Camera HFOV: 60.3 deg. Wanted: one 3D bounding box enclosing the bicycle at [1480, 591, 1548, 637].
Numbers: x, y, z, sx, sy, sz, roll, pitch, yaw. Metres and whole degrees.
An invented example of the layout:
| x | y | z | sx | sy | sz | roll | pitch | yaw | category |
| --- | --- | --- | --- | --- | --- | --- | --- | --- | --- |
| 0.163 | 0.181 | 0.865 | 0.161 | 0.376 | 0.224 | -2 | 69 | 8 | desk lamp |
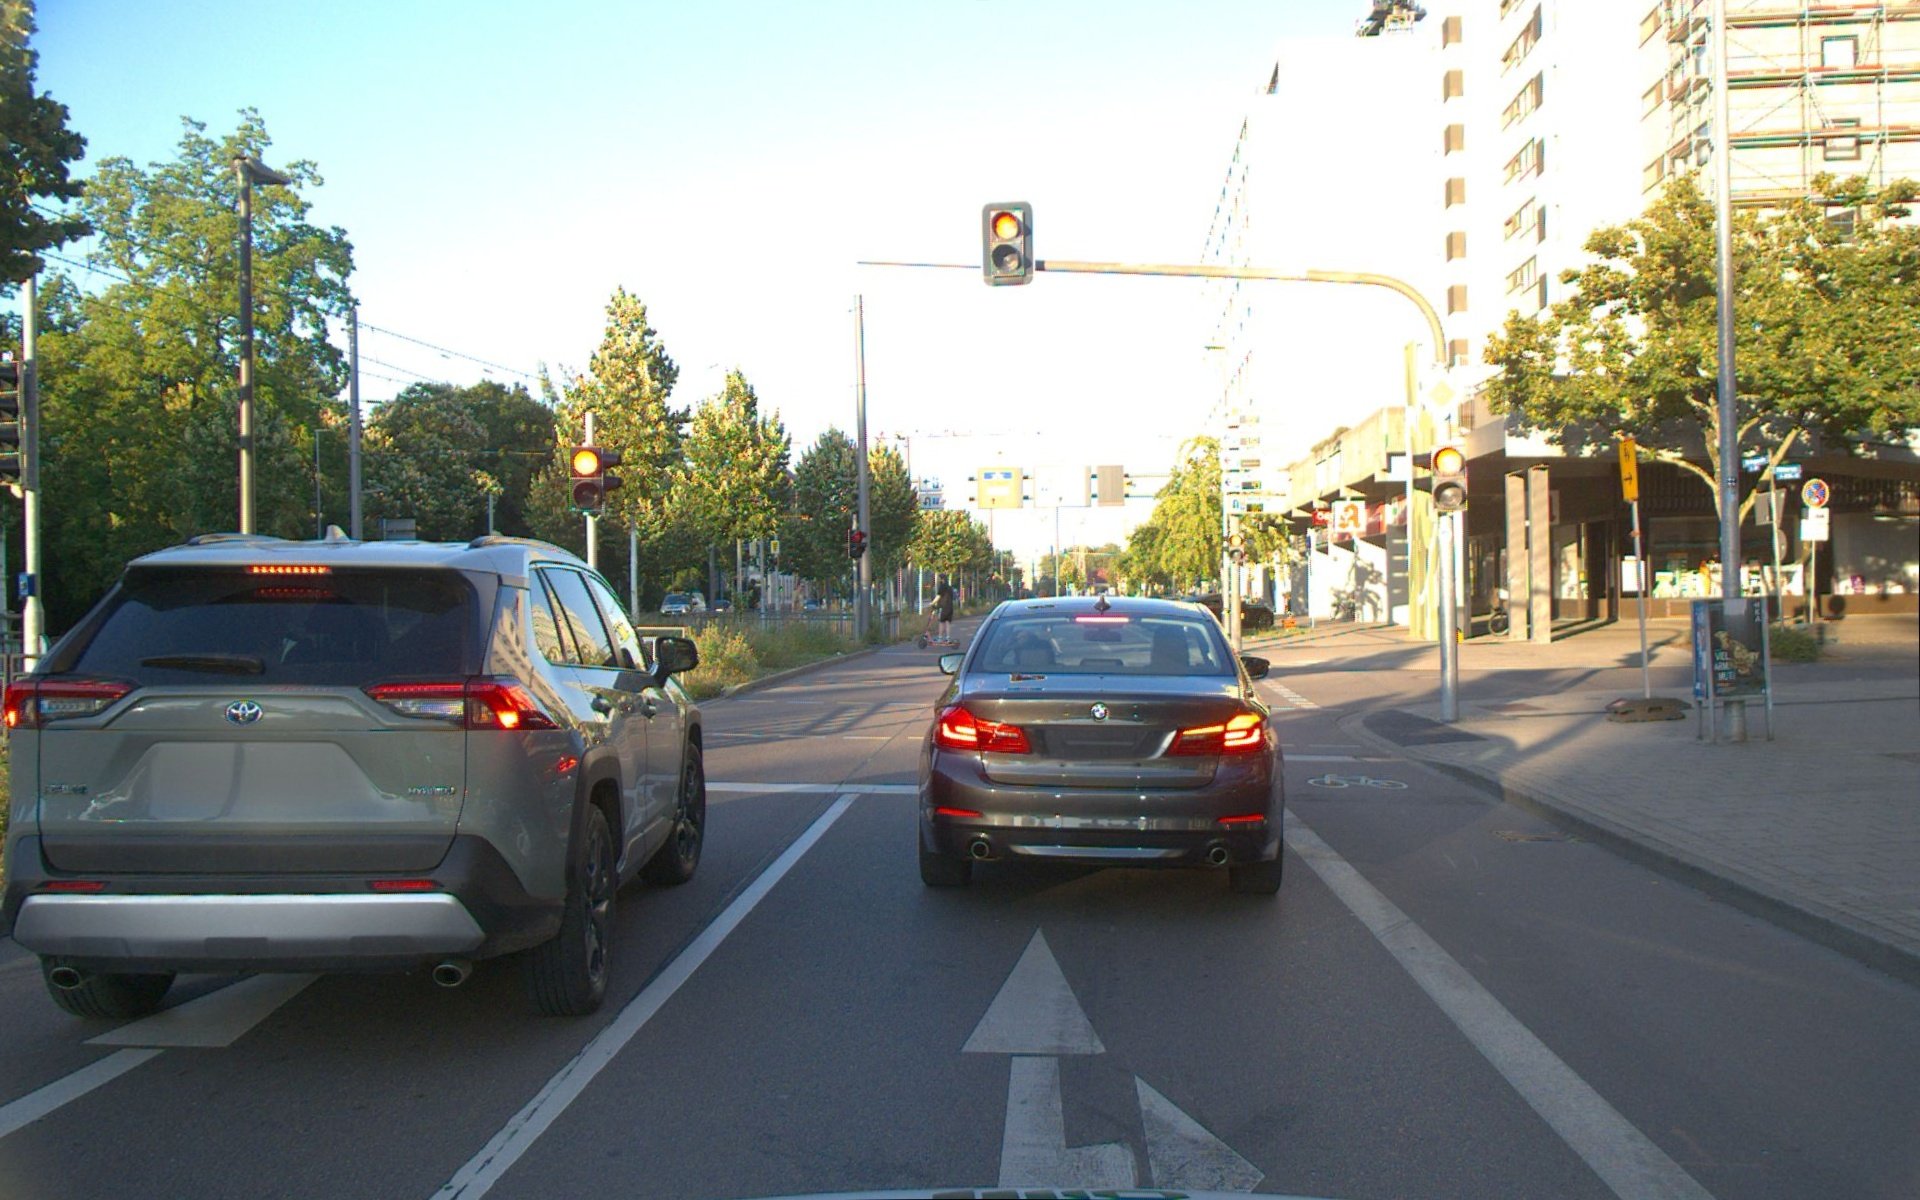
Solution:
| x | y | z | sx | sy | sz | roll | pitch | yaw | category |
| --- | --- | --- | --- | --- | --- | --- | --- | --- | --- |
| 14.658 | 0.361 | 43.826 | 0.677 | 1.169 | 2.014 | 2 | -1 | -16 | bicycle |

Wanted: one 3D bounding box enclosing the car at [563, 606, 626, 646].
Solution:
| x | y | z | sx | sy | sz | roll | pitch | yaw | category |
| --- | --- | --- | --- | --- | --- | --- | --- | --- | --- |
| -17.854 | 1.236 | 80.961 | 1.952 | 1.775 | 4.752 | 0 | 1 | 1 | car |

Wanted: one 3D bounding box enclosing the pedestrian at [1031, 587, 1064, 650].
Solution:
| x | y | z | sx | sy | sz | roll | pitch | yaw | category |
| --- | --- | --- | --- | --- | --- | --- | --- | --- | --- |
| 2.262 | 0.471 | 42.846 | 0.817 | 1.614 | 0.812 | -1 | 0 | 3 | pedestrian |

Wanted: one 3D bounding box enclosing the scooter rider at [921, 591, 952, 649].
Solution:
| x | y | z | sx | sy | sz | roll | pitch | yaw | category |
| --- | --- | --- | --- | --- | --- | --- | --- | --- | --- |
| -0.631 | 0.542 | 45.099 | 0.804 | 1.540 | 0.653 | -1 | 0 | 0 | scooter rider |

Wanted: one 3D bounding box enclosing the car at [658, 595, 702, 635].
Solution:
| x | y | z | sx | sy | sz | roll | pitch | yaw | category |
| --- | --- | --- | --- | --- | --- | --- | --- | --- | --- |
| -16.332 | 0.859 | 96.644 | 1.953 | 2.205 | 4.749 | 0 | 1 | -3 | car |

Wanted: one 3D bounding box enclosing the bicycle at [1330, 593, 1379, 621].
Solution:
| x | y | z | sx | sy | sz | roll | pitch | yaw | category |
| --- | --- | --- | --- | --- | --- | --- | --- | --- | --- |
| 17.010 | 0.303 | 71.393 | 1.973 | 1.169 | 0.691 | 2 | -1 | 9 | bicycle |

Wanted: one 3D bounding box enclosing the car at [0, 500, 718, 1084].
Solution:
| x | y | z | sx | sy | sz | roll | pitch | yaw | category |
| --- | --- | --- | --- | --- | --- | --- | --- | --- | --- |
| -2.143 | 0.510 | 6.945 | 1.817 | 1.687 | 4.266 | 0 | 1 | -3 | car |

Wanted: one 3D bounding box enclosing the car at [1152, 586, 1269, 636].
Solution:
| x | y | z | sx | sy | sz | roll | pitch | yaw | category |
| --- | --- | --- | --- | --- | --- | --- | --- | --- | --- |
| 9.026 | 0.377 | 59.423 | 4.228 | 1.687 | 1.834 | -1 | 2 | -40 | car |

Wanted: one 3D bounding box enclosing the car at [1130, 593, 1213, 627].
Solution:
| x | y | z | sx | sy | sz | roll | pitch | yaw | category |
| --- | --- | --- | --- | --- | --- | --- | --- | --- | --- |
| 11.217 | 0.504 | 87.813 | 4.214 | 1.687 | 1.840 | -1 | 1 | -33 | car |

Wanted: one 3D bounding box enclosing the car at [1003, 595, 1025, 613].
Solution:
| x | y | z | sx | sy | sz | roll | pitch | yaw | category |
| --- | --- | --- | --- | --- | --- | --- | --- | --- | --- |
| 4.925 | 0.368 | 149.909 | 1.937 | 1.458 | 4.845 | 0 | 1 | 3 | car |

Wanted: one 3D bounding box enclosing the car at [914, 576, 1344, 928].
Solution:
| x | y | z | sx | sy | sz | roll | pitch | yaw | category |
| --- | --- | --- | --- | --- | --- | --- | --- | --- | --- |
| 0.888 | 0.635 | 9.585 | 1.891 | 1.507 | 4.525 | 0 | 1 | 4 | car |

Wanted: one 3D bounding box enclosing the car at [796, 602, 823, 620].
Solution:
| x | y | z | sx | sy | sz | roll | pitch | yaw | category |
| --- | --- | --- | --- | --- | --- | --- | --- | --- | --- |
| -12.996 | 0.965 | 143.143 | 1.762 | 1.507 | 3.785 | -1 | 0 | 3 | car |

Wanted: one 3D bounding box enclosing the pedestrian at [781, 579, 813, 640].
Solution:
| x | y | z | sx | sy | sz | roll | pitch | yaw | category |
| --- | --- | --- | --- | --- | --- | --- | --- | --- | --- |
| -4.750 | 0.263 | 48.102 | 0.817 | 1.742 | 0.648 | -1 | 0 | 1 | pedestrian |

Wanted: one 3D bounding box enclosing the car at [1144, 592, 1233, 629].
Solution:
| x | y | z | sx | sy | sz | roll | pitch | yaw | category |
| --- | --- | --- | --- | --- | --- | --- | --- | --- | --- |
| 11.280 | 0.490 | 81.528 | 4.215 | 1.687 | 1.839 | -1 | 1 | -33 | car |

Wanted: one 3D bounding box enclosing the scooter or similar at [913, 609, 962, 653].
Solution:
| x | y | z | sx | sy | sz | roll | pitch | yaw | category |
| --- | --- | --- | --- | --- | --- | --- | --- | --- | --- |
| -0.621 | 0.840 | 45.067 | 1.302 | 1.173 | 0.513 | -1 | 0 | 0 | scooter or similar |

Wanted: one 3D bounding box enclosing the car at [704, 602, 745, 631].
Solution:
| x | y | z | sx | sy | sz | roll | pitch | yaw | category |
| --- | --- | --- | --- | --- | --- | --- | --- | --- | --- |
| -15.606 | 1.088 | 109.777 | 1.952 | 1.775 | 4.752 | 0 | 1 | 1 | car |
